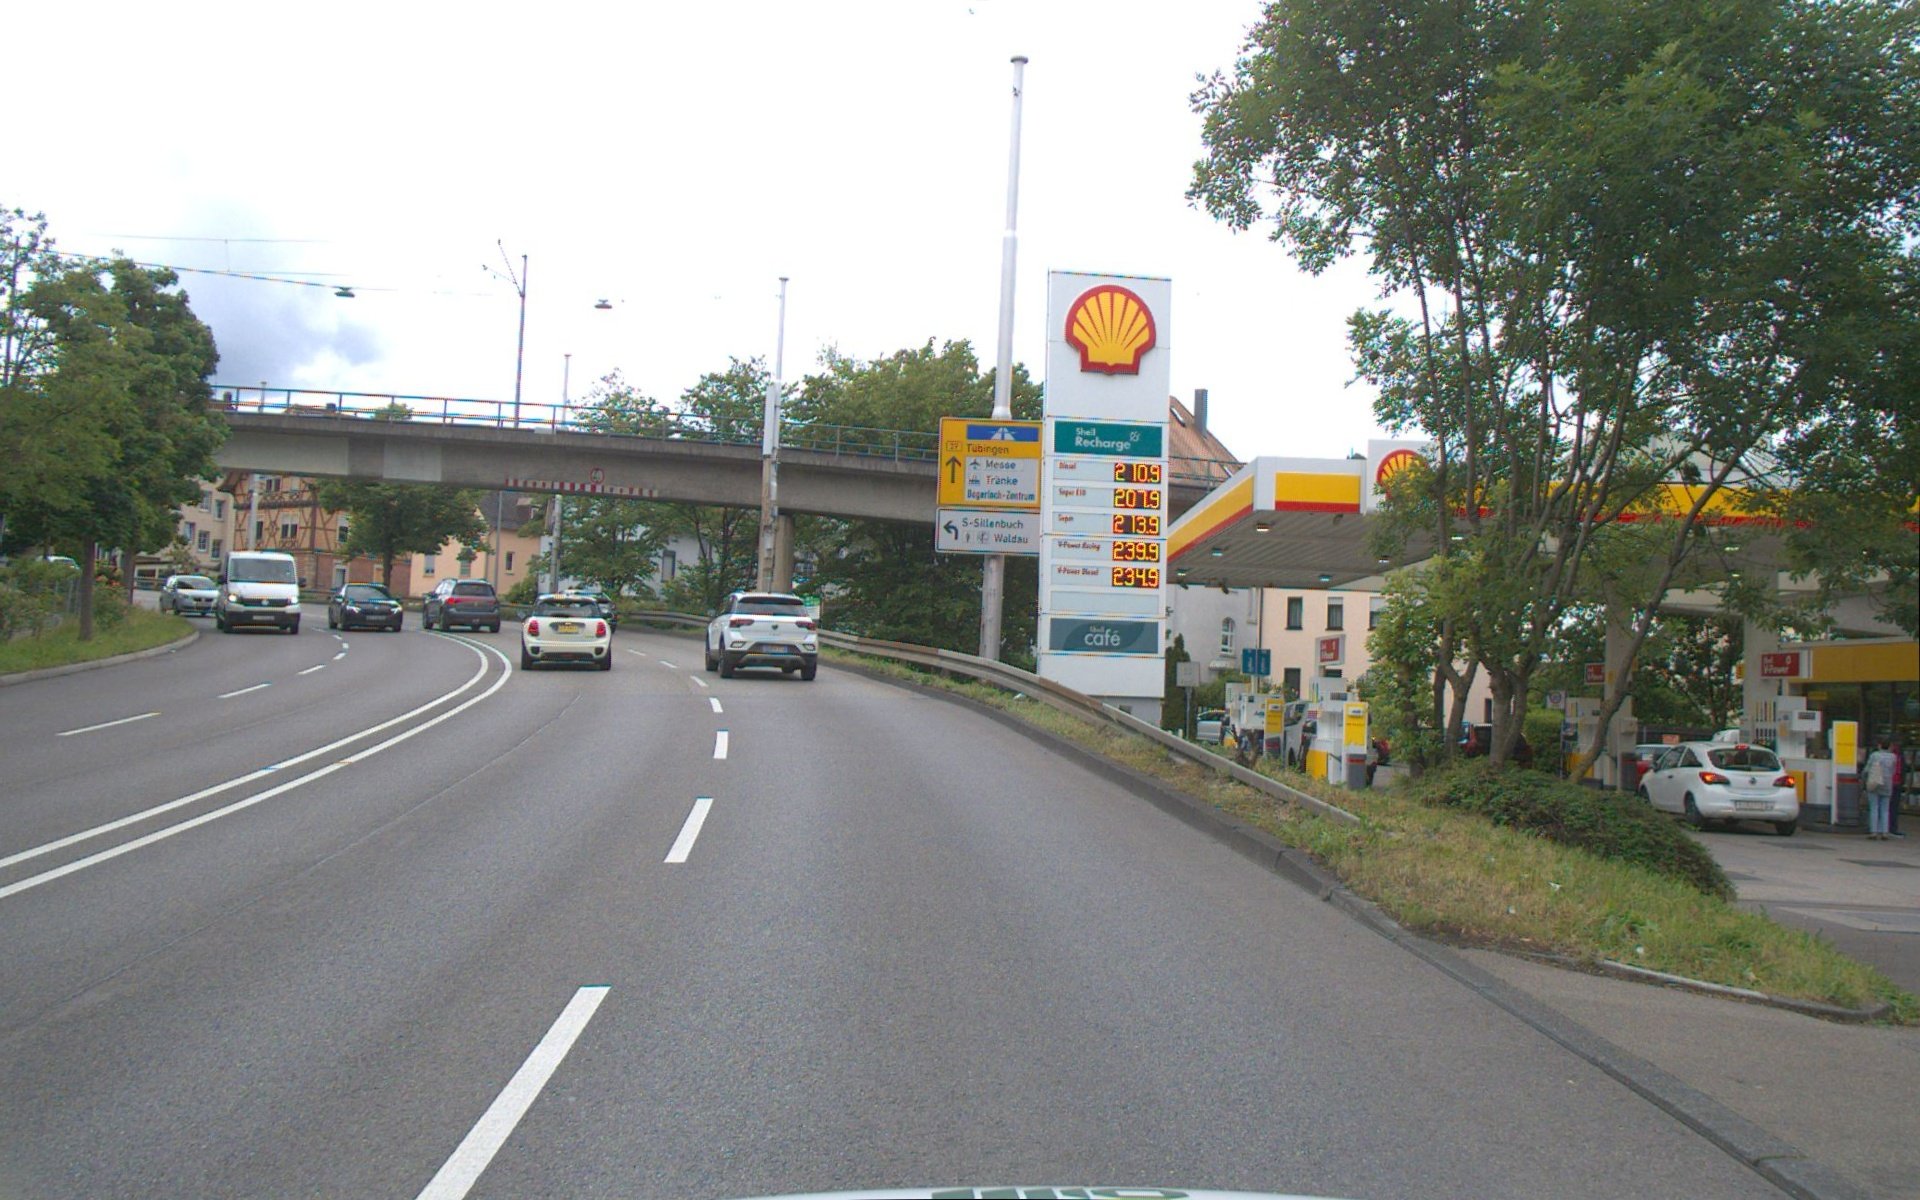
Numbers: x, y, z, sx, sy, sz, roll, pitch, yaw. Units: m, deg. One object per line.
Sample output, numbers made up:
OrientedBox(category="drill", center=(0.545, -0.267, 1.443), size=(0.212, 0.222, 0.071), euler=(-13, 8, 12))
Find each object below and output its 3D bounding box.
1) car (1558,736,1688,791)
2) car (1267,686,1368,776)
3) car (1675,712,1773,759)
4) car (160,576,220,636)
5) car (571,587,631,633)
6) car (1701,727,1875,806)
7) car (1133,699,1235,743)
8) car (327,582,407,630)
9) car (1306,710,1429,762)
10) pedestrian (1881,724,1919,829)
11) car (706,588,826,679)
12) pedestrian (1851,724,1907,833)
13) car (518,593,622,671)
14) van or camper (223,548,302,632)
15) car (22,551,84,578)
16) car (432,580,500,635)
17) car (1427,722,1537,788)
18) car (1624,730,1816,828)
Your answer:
OrientedBox(category="car", center=(19.928, 4.901, 49.864), size=(3.540, 1.484, 1.658), euler=(0, -4, 19))
OrientedBox(category="car", center=(8.811, 3.218, 41.074), size=(1.699, 2.046, 4.713), euler=(1, -4, 3))
OrientedBox(category="car", center=(29.214, 5.189, 63.230), size=(3.537, 1.372, 1.586), euler=(8, -4, -30))
OrientedBox(category="car", center=(-28.294, 0.203, 60.726), size=(1.806, 1.936, 3.903), euler=(4, 0, -27))
OrientedBox(category="car", center=(-12.085, 0.304, 55.493), size=(1.649, 1.433, 3.440), euler=(3, 0, -17))
OrientedBox(category="car", center=(22.095, 4.427, 44.247), size=(3.783, 1.972, 1.742), euler=(1, -4, 6))
OrientedBox(category="car", center=(9.126, 4.938, 67.463), size=(3.690, 1.419, 1.647), euler=(4, -3, 32))
OrientedBox(category="car", center=(-18.741, 0.181, 52.169), size=(1.716, 1.439, 4.387), euler=(1, 0, -28))
OrientedBox(category="car", center=(15.650, 5.209, 63.566), size=(4.210, 1.548, 1.621), euler=(4, -3, 29))
OrientedBox(category="pedestrian", center=(15.933, 2.975, 27.923), size=(0.482, 1.734, 0.431), euler=(2, -1, -8))
OrientedBox(category="car", center=(-3.698, 0.590, 31.126), size=(1.767, 1.545, 3.444), euler=(3, 0, -14))
OrientedBox(category="pedestrian", center=(15.250, 2.952, 27.448), size=(0.531, 1.734, 0.609), euler=(2, -1, -5))
OrientedBox(category="car", center=(-7.630, 0.594, 32.604), size=(1.691, 1.400, 3.449), euler=(3, 0, -9))
OrientedBox(category="van or camper", center=(-20.638, -0.305, 49.129), size=(1.980, 2.301, 5.922), euler=(1, 0, -22))
OrientedBox(category="car", center=(-51.548, -2.032, 93.974), size=(3.387, 1.400, 1.722), euler=(2, 0, 35))
OrientedBox(category="car", center=(-15.919, 0.220, 53.219), size=(1.699, 1.668, 3.433), euler=(3, 0, -23))
OrientedBox(category="car", center=(13.124, 3.869, 41.787), size=(1.699, 1.512, 3.878), euler=(1, -4, 3))
OrientedBox(category="car", center=(13.149, 3.067, 28.873), size=(1.699, 1.512, 3.878), euler=(1, -4, 3))
